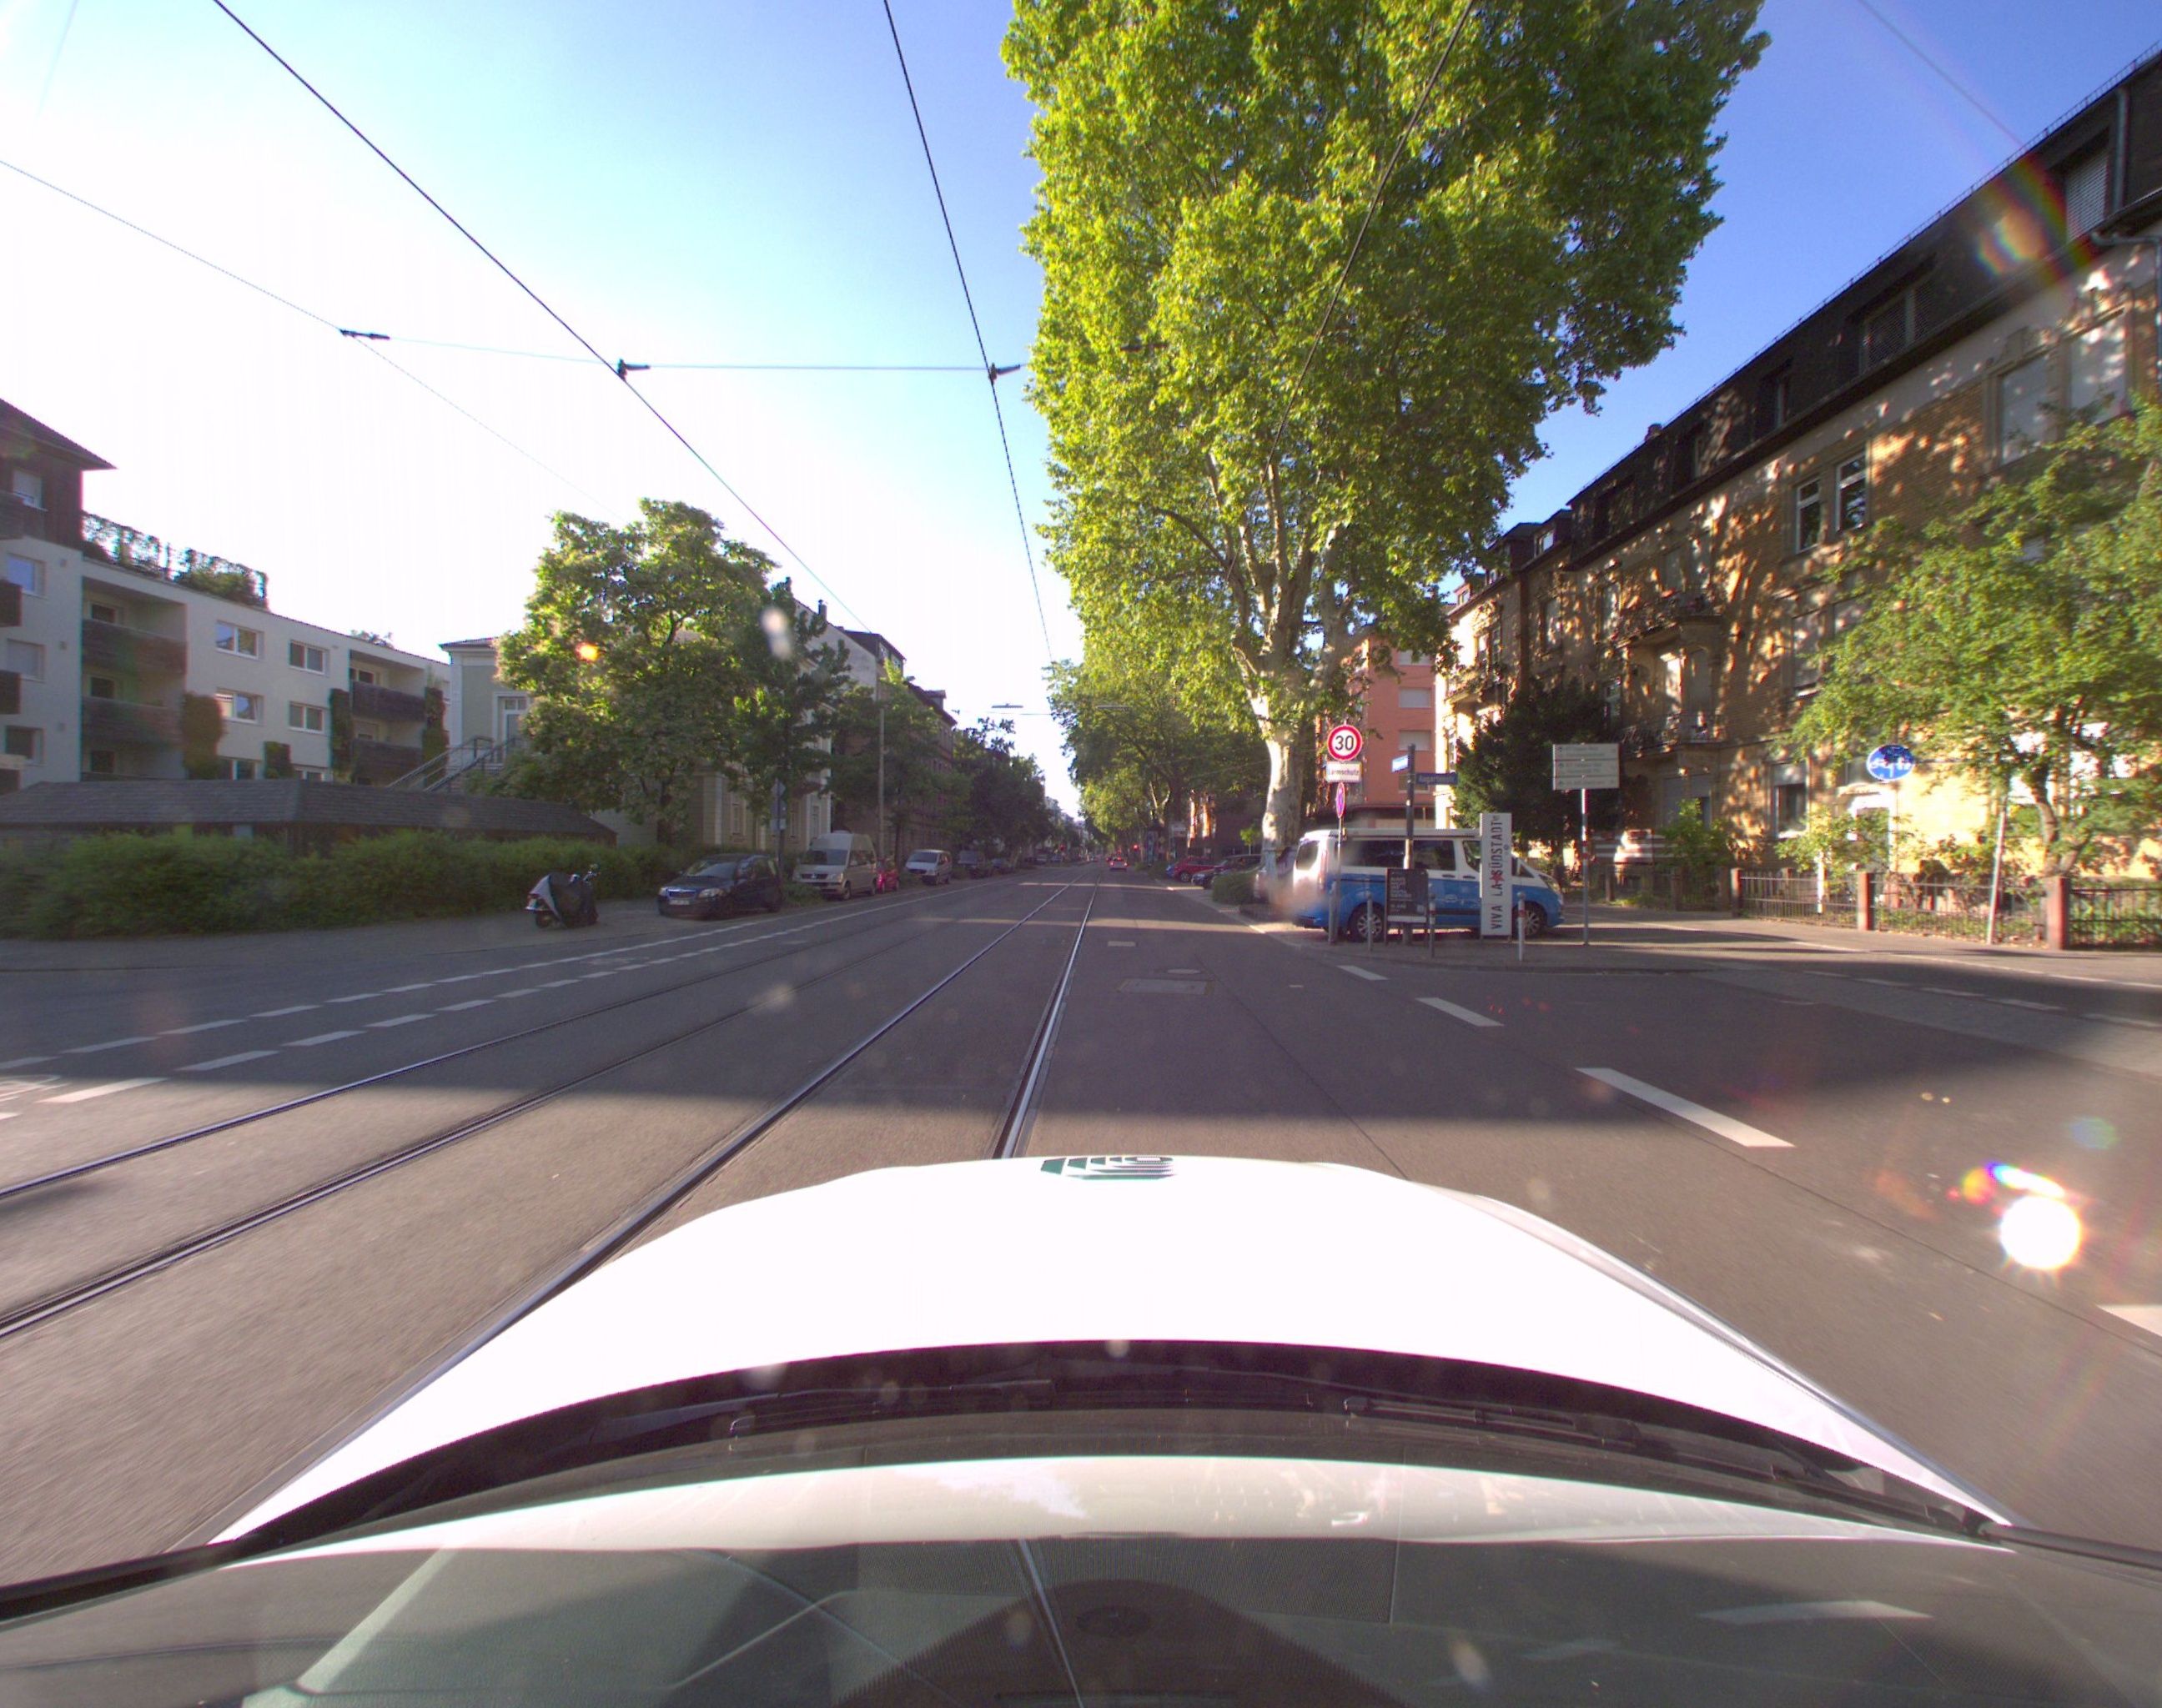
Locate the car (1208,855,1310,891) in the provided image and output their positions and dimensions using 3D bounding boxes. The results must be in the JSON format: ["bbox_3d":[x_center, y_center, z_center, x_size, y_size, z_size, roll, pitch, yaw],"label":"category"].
[{"bbox_3d":[7.798,0.814,35.978,4.181,1.574,1.819,0,0,3],"label":"car"}]

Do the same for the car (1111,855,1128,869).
[{"bbox_3d":[4.011,0.815,85.314,1.782,1.513,4.001,0,0,2],"label":"car"}]

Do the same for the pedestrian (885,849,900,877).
[{"bbox_3d":[-11.404,0.530,49.165,0.602,1.662,0.948,1,0,3],"label":"pedestrian"}]

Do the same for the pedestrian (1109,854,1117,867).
[{"bbox_3d":[4.400,0.934,112.054,0.992,1.811,0.863,0,0,-4],"label":"pedestrian"}]

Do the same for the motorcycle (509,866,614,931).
[{"bbox_3d":[-10.857,0.896,17.123,0.670,1.139,2.153,3,2,4],"label":"motorcycle"}]

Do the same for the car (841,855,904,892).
[{"bbox_3d":[-9.023,0.793,35.524,1.679,1.539,3.708,0,0,1],"label":"car"}]

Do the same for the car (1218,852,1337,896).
[{"bbox_3d":[7.400,0.730,30.968,4.181,1.619,1.819,0,0,3],"label":"car"}]

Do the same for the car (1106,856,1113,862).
[{"bbox_3d":[7.046,1.241,204.037,1.782,1.513,4.001,0,0,2],"label":"car"}]

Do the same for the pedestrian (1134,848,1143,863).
[{"bbox_3d":[7.719,0.187,109.831,0.980,1.864,1.015,-3,0,-4],"label":"pedestrian"}]

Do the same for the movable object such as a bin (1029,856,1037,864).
[{"bbox_3d":[-7.827,0.970,132.265,1.167,1.348,0.782,4,-1,-3],"label":"movable object such as a bin"}]

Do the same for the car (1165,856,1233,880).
[{"bbox_3d":[7.804,0.884,53.868,4.378,1.543,1.822,0,0,8],"label":"car"}]

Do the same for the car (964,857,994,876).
[{"bbox_3d":[-8.065,0.988,64.790,1.846,1.458,4.270,0,0,1],"label":"car"}]

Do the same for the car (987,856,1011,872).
[{"bbox_3d":[-7.523,0.917,75.123,1.652,1.445,3.950,1,0,1],"label":"car"}]

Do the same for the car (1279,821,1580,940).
[{"bbox_3d":[6.523,0.469,15.675,4.833,2.013,2.193,-1,0,-2],"label":"car"}]

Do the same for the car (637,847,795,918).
[{"bbox_3d":[-9.385,0.672,21.375,1.983,1.690,4.266,0,0,4],"label":"car"}]

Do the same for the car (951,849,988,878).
[{"bbox_3d":[-8.126,0.685,59.621,1.987,2.013,4.835,0,0,1],"label":"car"}]

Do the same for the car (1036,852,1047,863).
[{"bbox_3d":[-7.018,0.708,145.656,1.682,1.940,4.001,0,0,2],"label":"car"}]

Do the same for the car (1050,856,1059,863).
[{"bbox_3d":[-5.780,1.137,177.690,1.587,1.548,4.001,2,0,2],"label":"car"}]

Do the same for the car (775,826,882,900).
[{"bbox_3d":[-9.219,0.308,30.320,2.296,2.508,5.343,0,0,0],"label":"car"}]

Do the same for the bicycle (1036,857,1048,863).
[{"bbox_3d":[-7.322,1.086,153.140,2.244,1.074,0.637,3,0,2],"label":"bicycle"}]

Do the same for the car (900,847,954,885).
[{"bbox_3d":[-8.448,0.620,45.231,1.836,1.989,4.991,0,0,3],"label":"car"}]

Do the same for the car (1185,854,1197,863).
[{"bbox_3d":[17.973,0.777,133.184,1.595,1.495,3.417,0,0,0],"label":"car"}]

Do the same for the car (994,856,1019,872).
[{"bbox_3d":[-7.349,0.987,80.560,1.692,1.550,4.542,1,0,5],"label":"car"}]

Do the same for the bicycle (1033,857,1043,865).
[{"bbox_3d":[-7.117,1.154,134.323,1.528,1.075,0.885,3,0,0],"label":"bicycle"}]

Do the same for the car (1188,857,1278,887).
[{"bbox_3d":[7.559,0.864,40.697,4.185,1.448,1.818,0,0,1],"label":"car"}]

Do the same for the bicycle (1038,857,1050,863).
[{"bbox_3d":[-7.088,1.078,155.006,2.244,1.074,0.637,3,0,2],"label":"bicycle"}]

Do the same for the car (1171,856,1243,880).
[{"bbox_3d":[7.915,0.873,51.580,4.384,1.543,1.954,0,0,3],"label":"car"}]

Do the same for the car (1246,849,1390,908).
[{"bbox_3d":[6.997,0.708,24.342,3.770,1.619,1.790,-1,0,-1],"label":"car"}]

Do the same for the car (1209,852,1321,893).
[{"bbox_3d":[7.515,0.742,33.584,4.188,1.619,1.878,0,0,-2],"label":"car"}]
